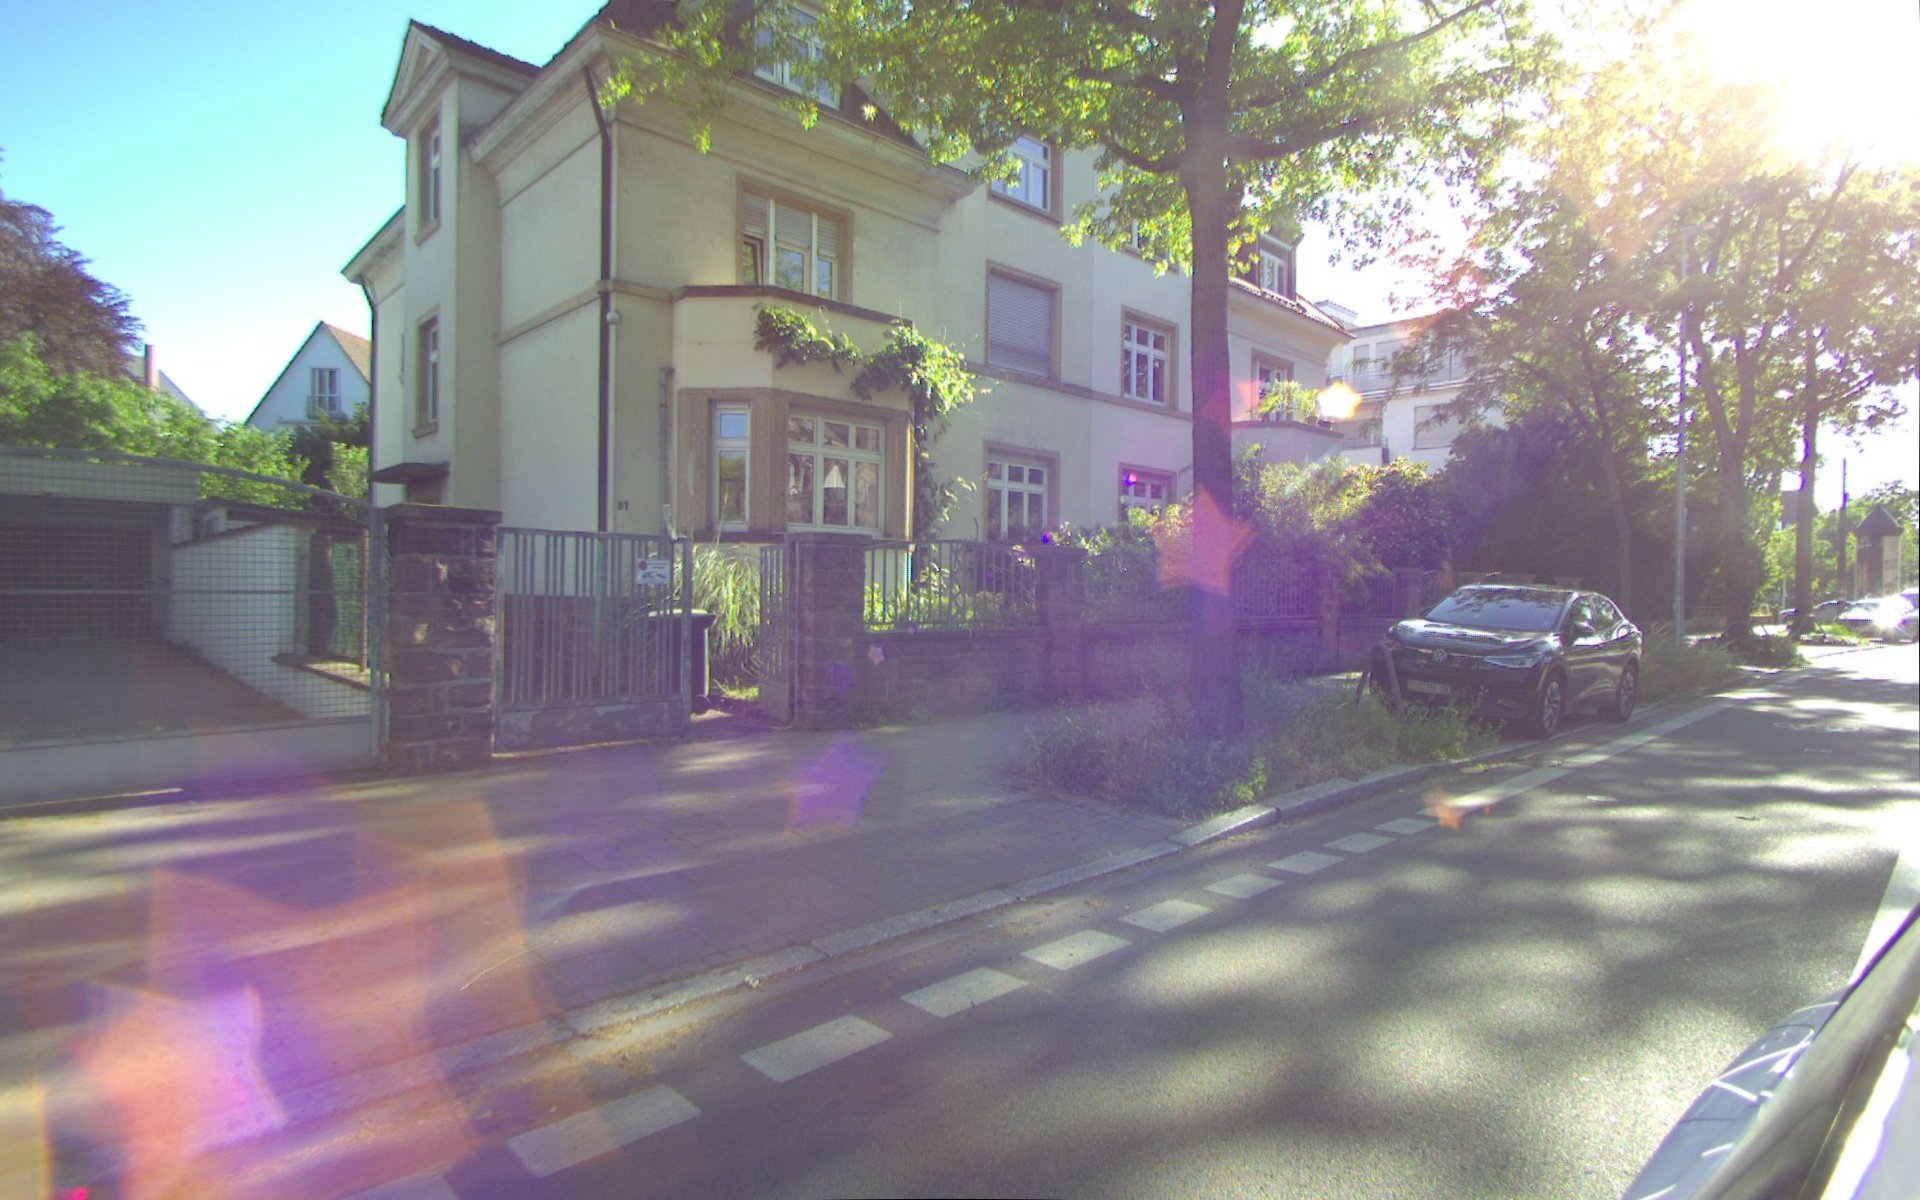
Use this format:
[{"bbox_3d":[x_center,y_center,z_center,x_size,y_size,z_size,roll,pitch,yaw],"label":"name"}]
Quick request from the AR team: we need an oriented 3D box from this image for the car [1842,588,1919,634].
[{"bbox_3d":[31.548,0.334,34.419,3.930,1.469,1.785,0,1,-41],"label":"car"}]

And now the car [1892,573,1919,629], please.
[{"bbox_3d":[36.783,0.047,38.081,4.503,2.039,1.997,0,1,-41],"label":"car"}]

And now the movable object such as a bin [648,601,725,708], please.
[{"bbox_3d":[-2.956,0.554,10.871,0.697,1.070,1.093,0,0,-20],"label":"movable object such as a bin"}]

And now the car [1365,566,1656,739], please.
[{"bbox_3d":[6.653,0.492,12.045,4.022,1.626,1.743,0,4,-42],"label":"car"}]
